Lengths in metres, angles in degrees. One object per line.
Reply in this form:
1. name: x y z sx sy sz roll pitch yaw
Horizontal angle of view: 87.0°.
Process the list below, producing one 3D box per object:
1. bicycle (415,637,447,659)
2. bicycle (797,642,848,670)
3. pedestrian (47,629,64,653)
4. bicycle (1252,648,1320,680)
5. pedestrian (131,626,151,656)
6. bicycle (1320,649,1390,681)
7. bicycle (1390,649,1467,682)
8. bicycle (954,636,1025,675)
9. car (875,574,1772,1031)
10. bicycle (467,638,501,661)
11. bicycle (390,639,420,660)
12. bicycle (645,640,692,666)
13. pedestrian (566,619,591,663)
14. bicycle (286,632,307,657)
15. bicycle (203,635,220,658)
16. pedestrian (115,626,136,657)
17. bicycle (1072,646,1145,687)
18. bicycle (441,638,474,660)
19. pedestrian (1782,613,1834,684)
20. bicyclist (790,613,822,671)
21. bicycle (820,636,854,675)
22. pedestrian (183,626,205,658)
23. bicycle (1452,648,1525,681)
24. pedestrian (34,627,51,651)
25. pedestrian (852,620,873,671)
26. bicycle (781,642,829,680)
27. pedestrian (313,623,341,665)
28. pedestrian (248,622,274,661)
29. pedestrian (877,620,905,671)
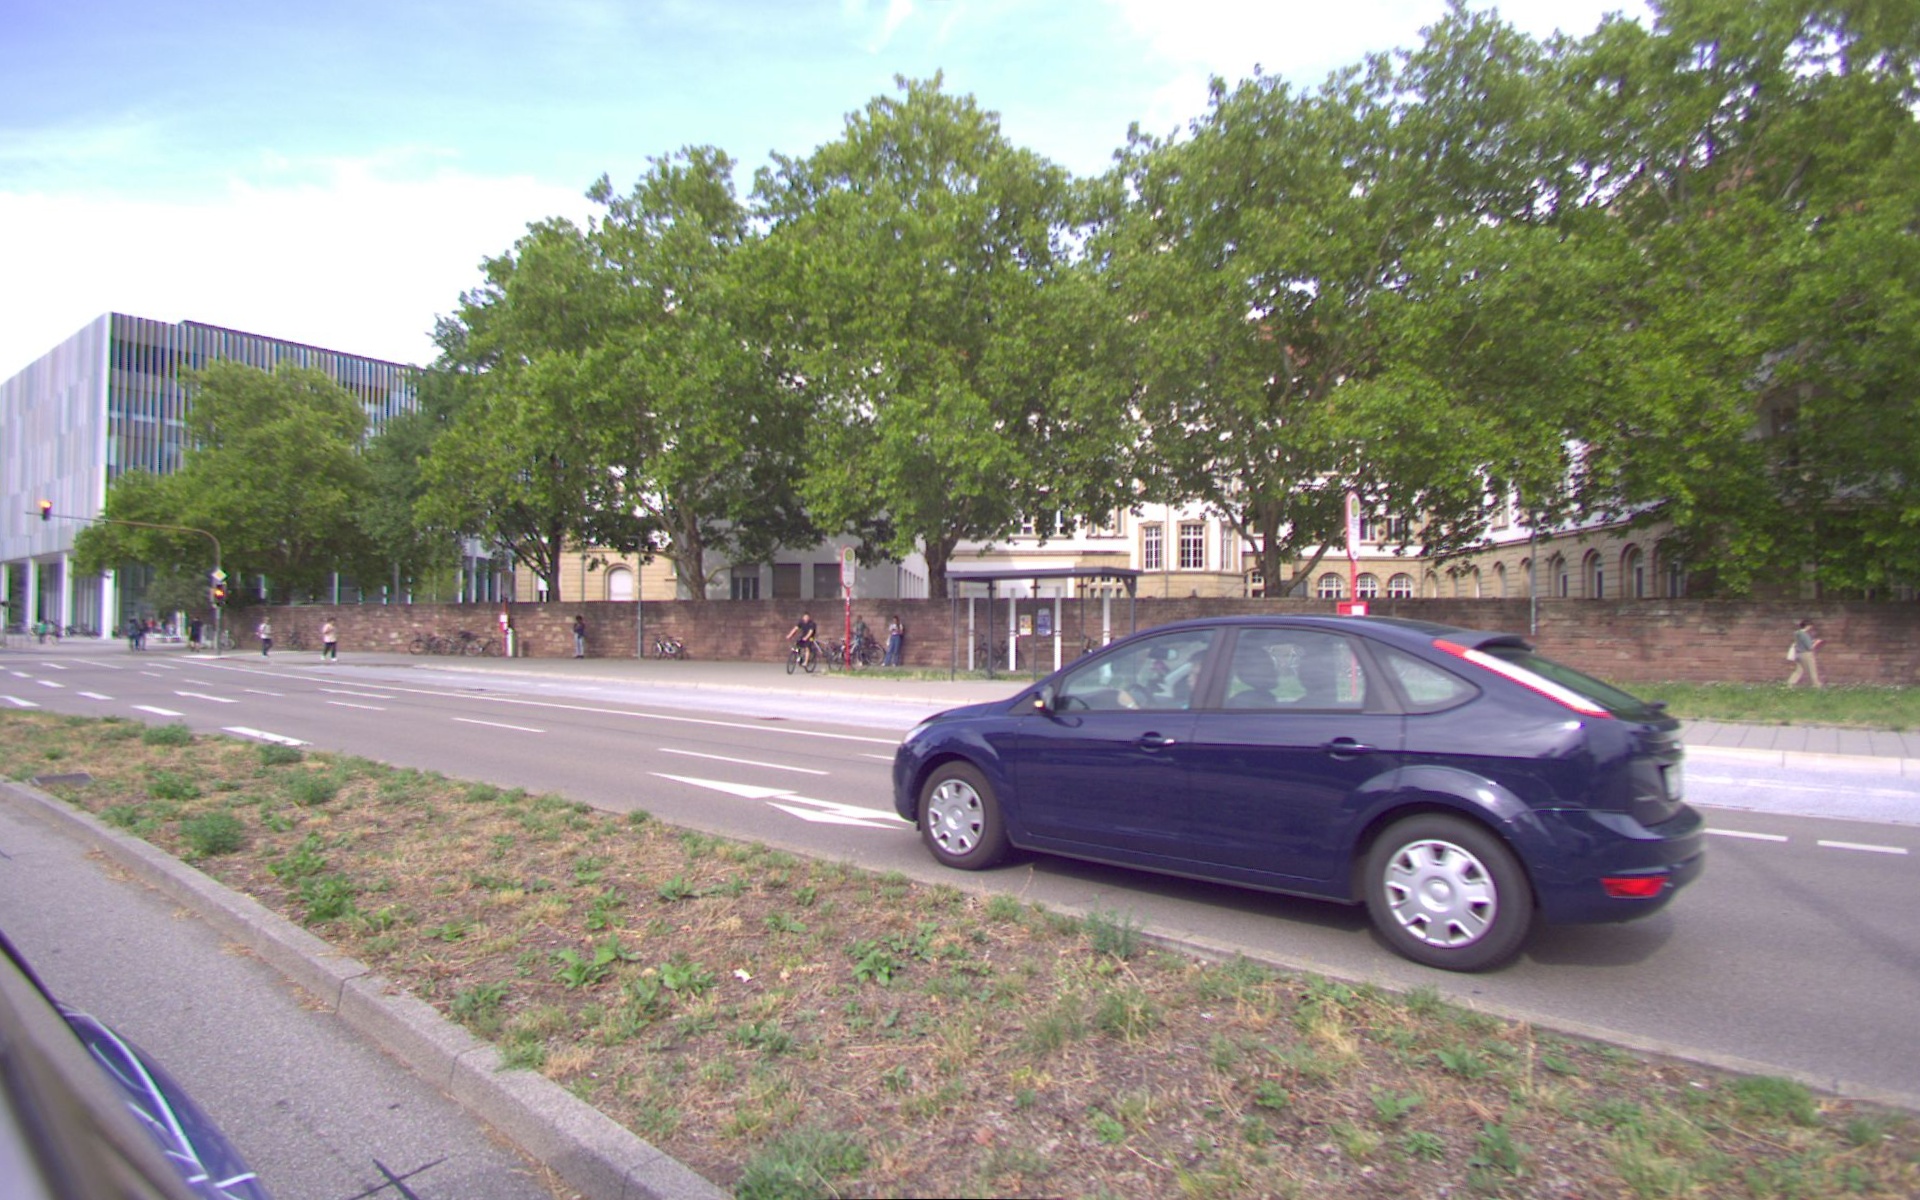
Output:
1. bicycle: -22.845 2.073 43.670 1.570 0.894 0.429 -1 1 31
2. bicycle: -4.628 1.871 34.020 1.565 0.894 0.657 -2 1 22
3. pedestrian: -61.853 2.786 69.201 0.664 1.634 0.746 -1 0 35
4. bicycle: 9.315 1.826 28.953 1.808 0.871 0.356 -1 -4 19
5. pedestrian: -45.482 2.275 56.200 0.664 1.634 0.746 -1 0 35
6. bicycle: 11.040 1.803 28.341 1.797 0.871 0.356 -1 -4 21
7. bicycle: 12.772 1.781 27.639 1.878 0.871 0.356 -1 -4 23
8. bicycle: 0.927 1.738 31.759 2.082 1.198 0.754 -1 -4 20
9. car: 1.633 0.733 5.384 4.128 1.501 1.765 -1 -4 41
10. bicycle: -19.576 2.031 41.616 1.570 0.894 0.429 -1 1 31
11. bicycle: -24.472 2.189 44.623 1.570 0.894 0.429 -1 1 31
12. bicycle: -10.608 1.940 36.800 1.565 0.894 0.657 -2 1 22
13. pedestrian: -14.624 1.570 38.770 0.656 1.634 0.755 -1 0 0
14. bicycle: -32.852 2.203 50.114 1.395 1.218 0.506 -1 0 41
15. bicycle: -41.975 2.591 56.755 1.395 1.218 0.506 -1 0 41
16. pedestrian: -45.652 2.277 55.375 0.664 1.634 0.746 -1 0 35
17. bicycle: 4.450 1.993 30.313 2.082 1.198 0.754 -1 -4 20
18. bicycle: -21.296 2.053 42.903 1.570 0.894 0.429 -1 1 31
19. pedestrian: 20.440 1.161 24.400 0.769 1.667 0.579 -1 0 -11
20. bicyclist: -4.315 1.165 28.411 0.570 1.567 0.800 1 0 -34
21. bicycle: -3.929 1.804 32.497 0.748 1.198 2.097 1 -4 1
22. pedestrian: -39.658 2.171 52.409 0.664 1.634 0.746 -1 0 35
23. bicycle: 14.362 1.759 27.543 1.693 0.871 0.357 0 -4 16
24. pedestrian: -65.425 2.770 72.155 0.664 1.634 0.746 -1 0 35
25. pedestrian: -3.194 1.479 33.059 0.481 1.634 0.565 -1 0 19
26. bicycle: -4.371 1.705 28.474 0.497 0.943 1.977 1 0 -35
27. pedestrian: -25.128 1.748 40.164 0.664 1.634 0.746 -1 0 35
28. pedestrian: -30.107 1.773 43.589 0.664 1.634 0.746 -1 0 35
29. pedestrian: -2.241 1.466 32.984 0.749 1.634 0.565 -1 0 19
